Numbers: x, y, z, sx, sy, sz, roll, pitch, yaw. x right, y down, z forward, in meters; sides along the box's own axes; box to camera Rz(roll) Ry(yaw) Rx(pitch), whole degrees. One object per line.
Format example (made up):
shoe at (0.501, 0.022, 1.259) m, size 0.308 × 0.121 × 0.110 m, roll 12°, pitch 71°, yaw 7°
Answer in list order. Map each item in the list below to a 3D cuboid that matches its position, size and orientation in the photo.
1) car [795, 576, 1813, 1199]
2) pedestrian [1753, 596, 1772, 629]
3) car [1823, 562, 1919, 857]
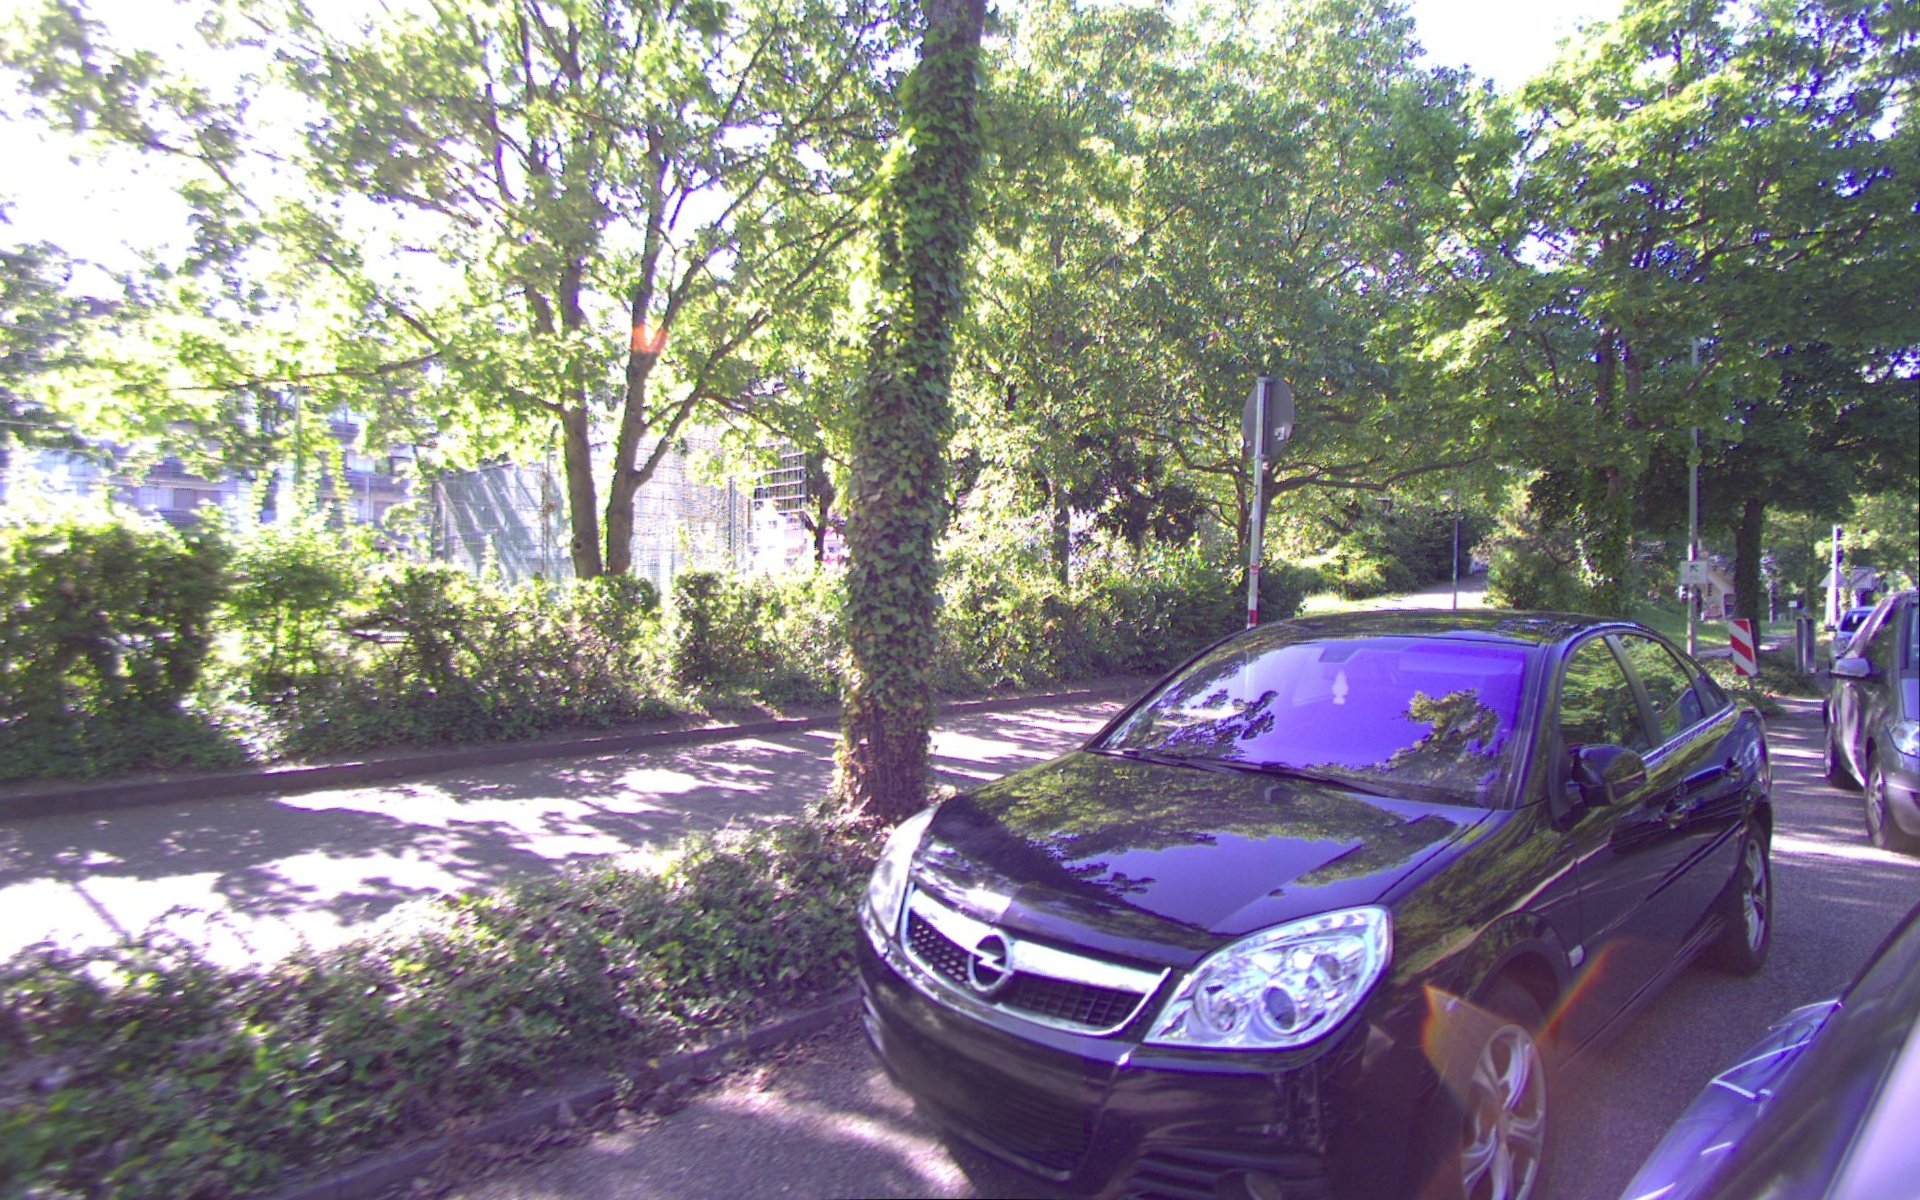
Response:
car at (1.567, 0.692, 3.611) m, size 3.962 × 1.499 × 1.750 m, roll -1°, pitch 0°, yaw -42°
pedestrian at (45.803, 0.701, 57.774) m, size 0.660 × 1.855 × 0.791 m, roll 1°, pitch -1°, yaw -44°
car at (7.022, 0.605, 6.659) m, size 1.725 × 1.607 × 3.948 m, roll 0°, pitch 0°, yaw 36°
